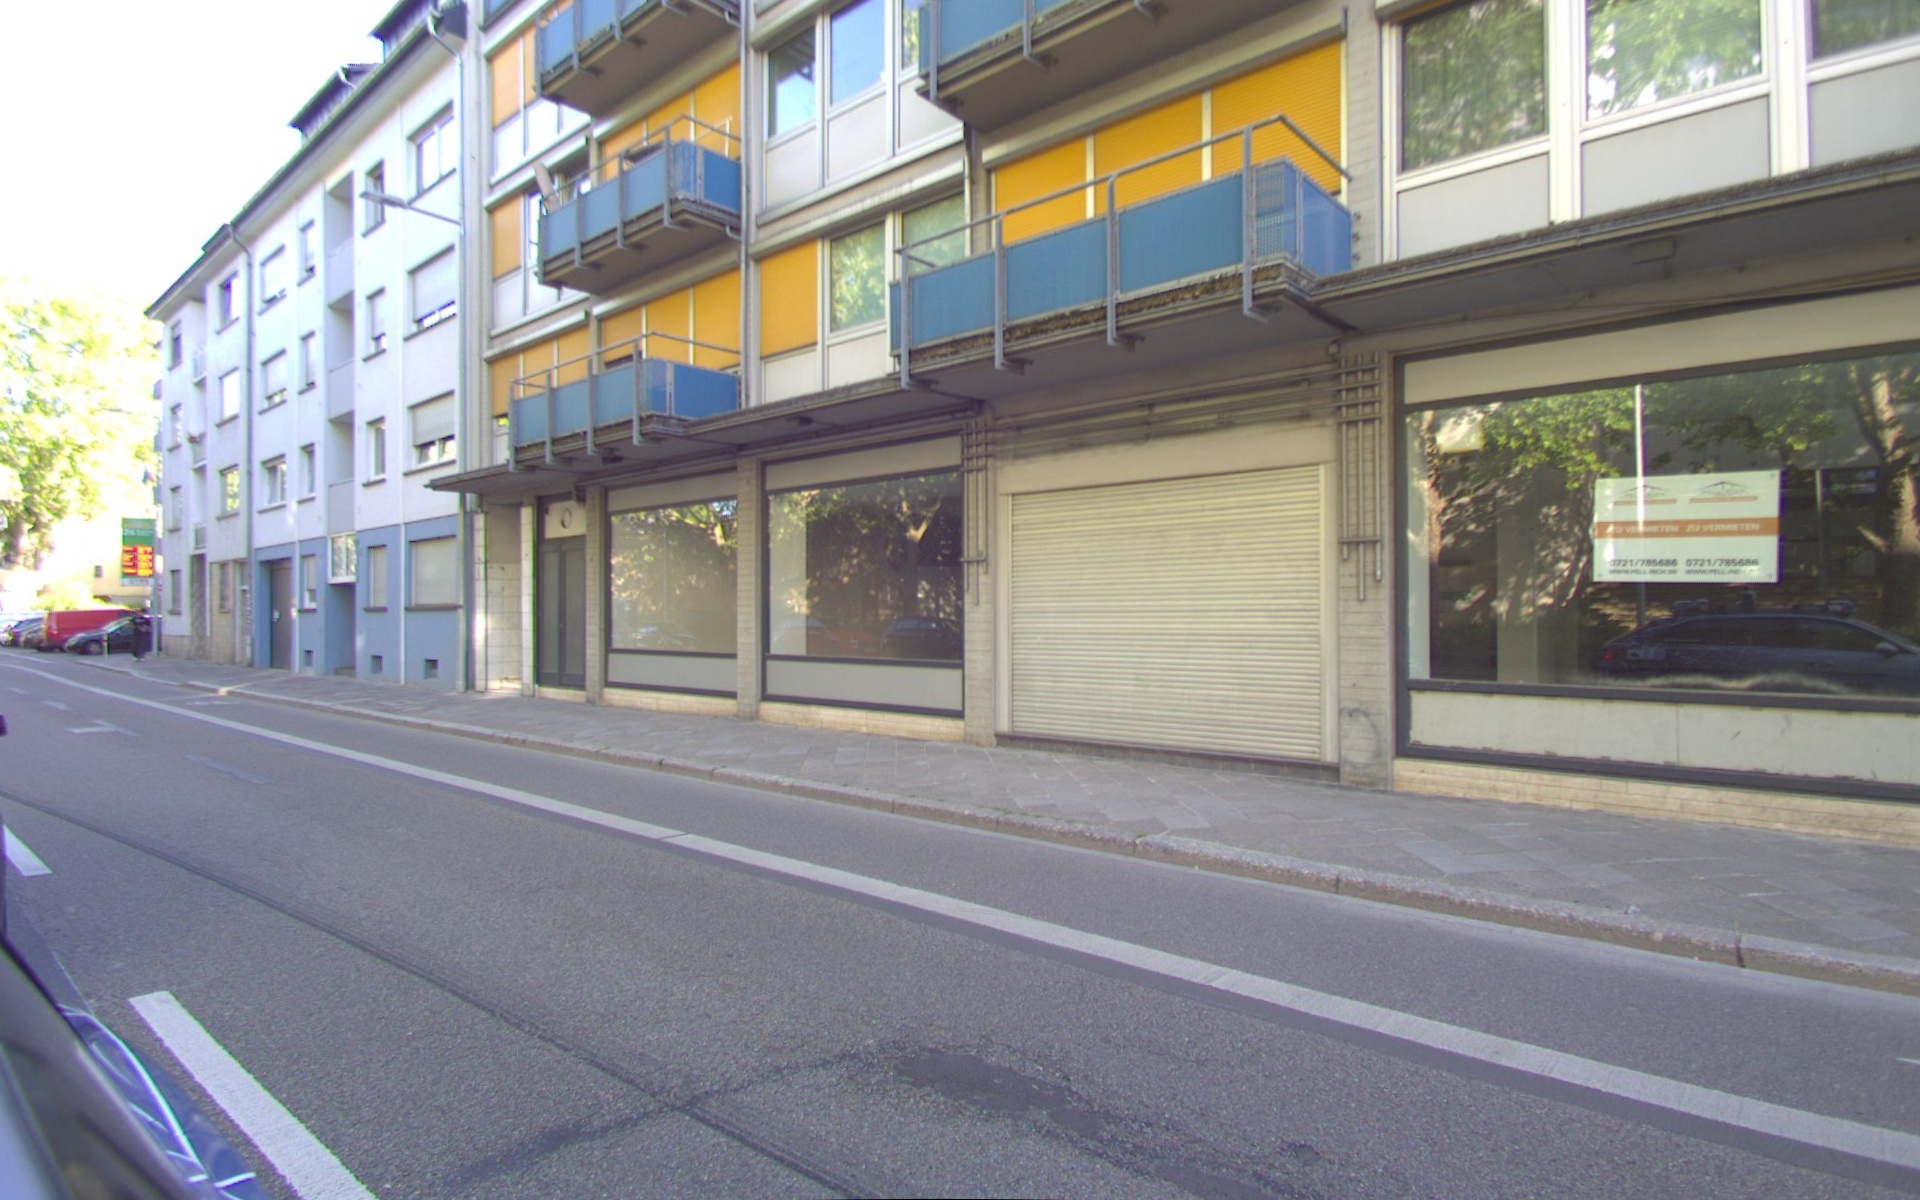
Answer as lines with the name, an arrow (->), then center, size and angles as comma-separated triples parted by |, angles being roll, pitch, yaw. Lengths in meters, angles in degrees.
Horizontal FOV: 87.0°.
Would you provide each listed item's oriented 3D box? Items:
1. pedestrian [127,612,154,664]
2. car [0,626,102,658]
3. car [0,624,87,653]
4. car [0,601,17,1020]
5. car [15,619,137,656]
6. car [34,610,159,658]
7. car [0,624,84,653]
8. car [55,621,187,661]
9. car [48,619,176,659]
pedestrian -> -27.149, 1.252, 33.523 | 0.655, 1.708, 0.604 | -2, -1, 41
car -> -50.467, 2.286, 56.114 | 1.652, 1.480, 4.201 | -1, 1, 41
car -> -54.499, 2.272, 59.798 | 1.652, 1.480, 4.201 | -1, 1, 41
car -> -5.647, 0.794, 4.412 | 4.300, 1.510, 1.826 | -1, -1, 41
car -> -42.759, 1.784, 49.023 | 1.652, 1.480, 4.201 | -1, 1, 41
car -> -40.571, 1.552, 47.627 | 1.817, 1.933, 4.202 | -1, 1, 40
car -> -55.881, 2.292, 61.206 | 1.652, 1.480, 4.201 | -1, 1, 41
car -> -36.497, 1.738, 44.102 | 1.652, 1.411, 4.201 | -1, 1, 41
car -> -38.190, 1.725, 45.665 | 1.652, 1.480, 4.201 | -1, 1, 41
